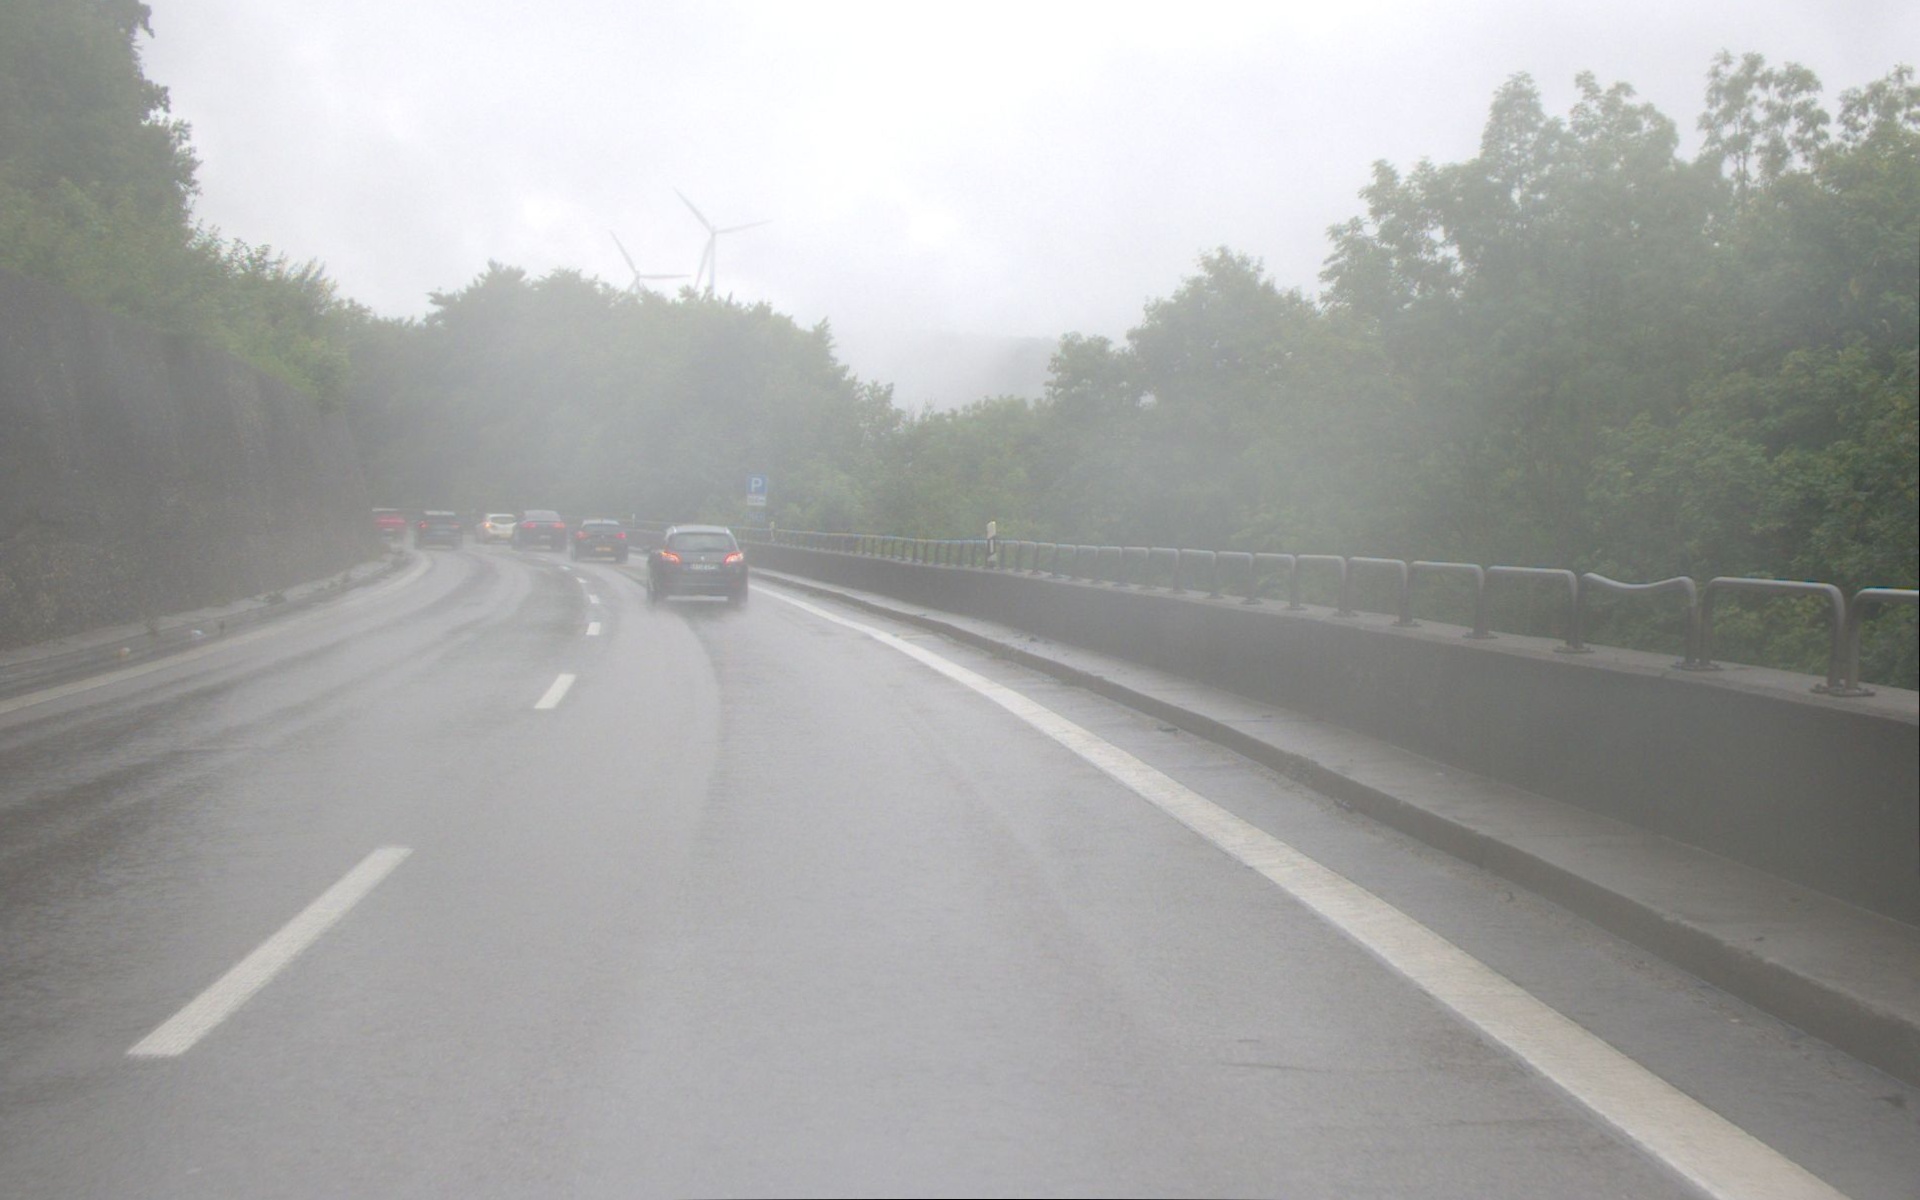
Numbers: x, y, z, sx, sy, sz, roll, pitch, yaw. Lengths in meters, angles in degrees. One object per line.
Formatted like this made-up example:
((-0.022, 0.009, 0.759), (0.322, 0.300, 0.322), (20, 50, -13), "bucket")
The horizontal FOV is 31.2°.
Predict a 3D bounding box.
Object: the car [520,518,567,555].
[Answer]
((-17.675, -2.711, 145.834), (1.903, 1.494, 4.001), (1, 1, -8), "car")

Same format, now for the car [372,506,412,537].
((-28.402, -3.938, 171.843), (1.903, 1.494, 4.001), (1, 1, -10), "car")

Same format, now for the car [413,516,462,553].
((-21.744, -2.727, 143.227), (1.903, 1.494, 4.001), (1, 1, -8), "car")

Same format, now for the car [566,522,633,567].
((-12.339, -1.910, 117.559), (1.903, 1.494, 4.001), (1, 1, -11), "car")

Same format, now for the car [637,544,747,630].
((-5.104, -0.269, 65.067), (1.903, 1.494, 4.001), (1, 1, -6), "car")
